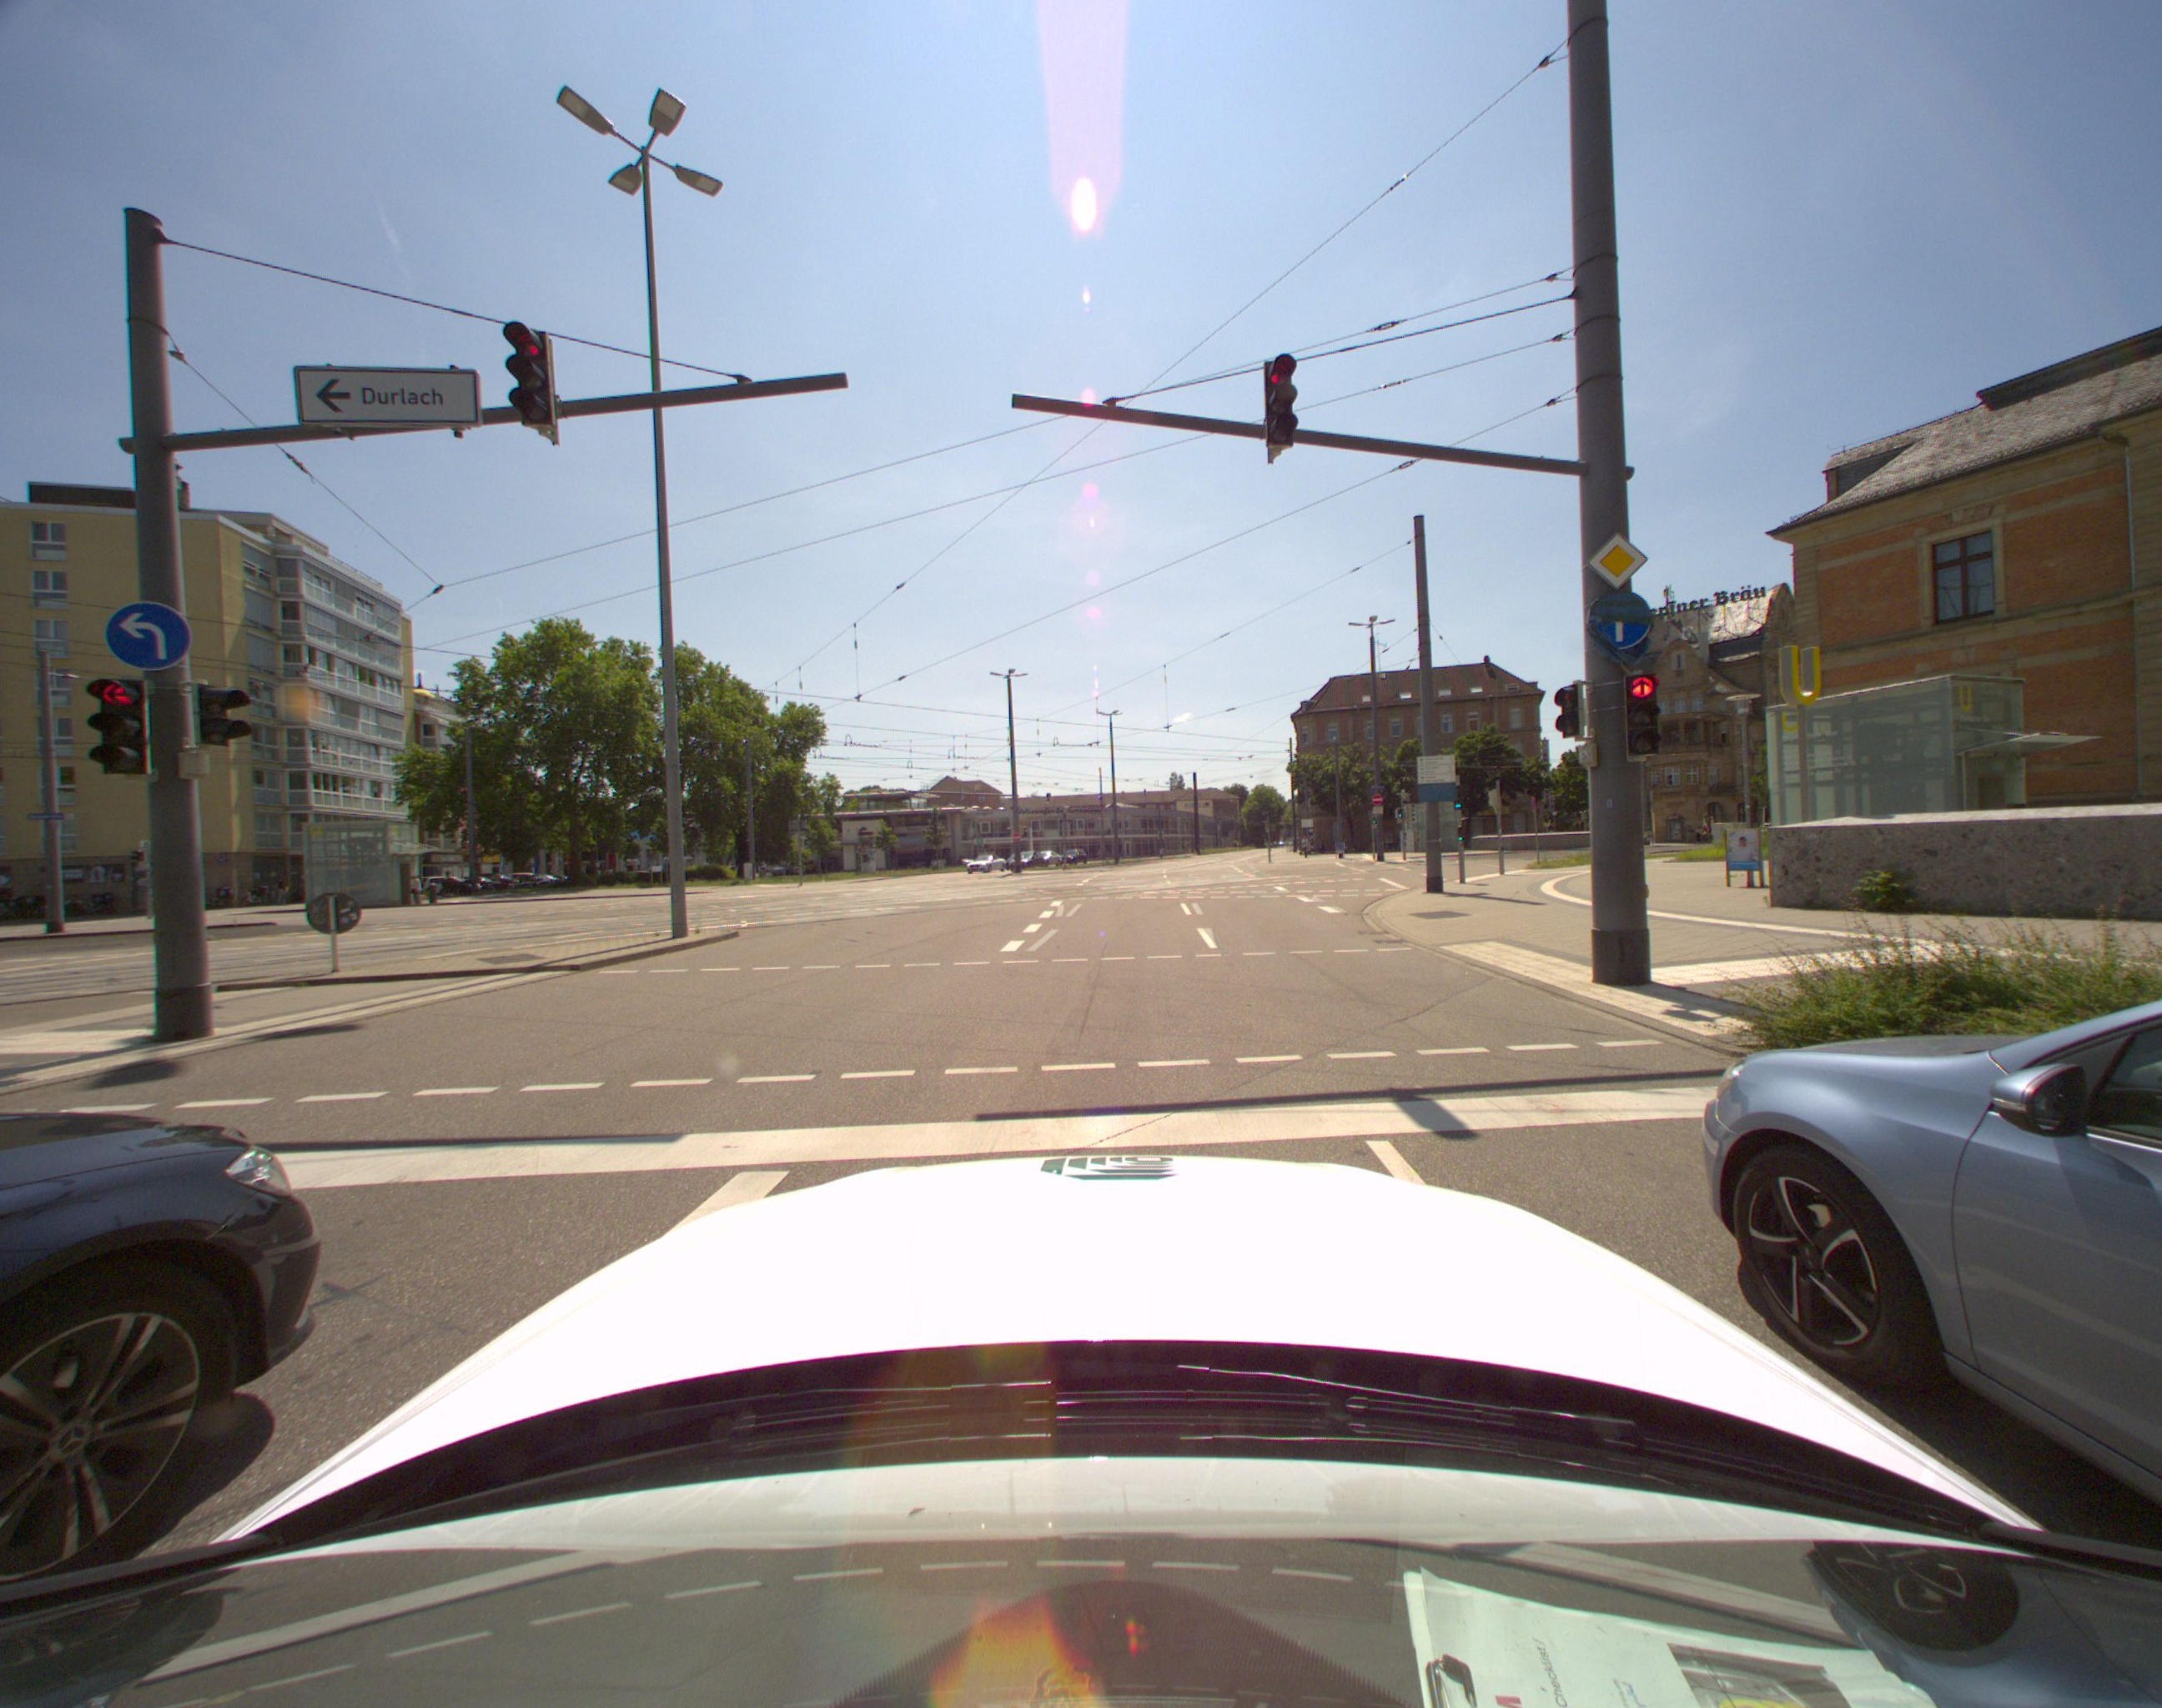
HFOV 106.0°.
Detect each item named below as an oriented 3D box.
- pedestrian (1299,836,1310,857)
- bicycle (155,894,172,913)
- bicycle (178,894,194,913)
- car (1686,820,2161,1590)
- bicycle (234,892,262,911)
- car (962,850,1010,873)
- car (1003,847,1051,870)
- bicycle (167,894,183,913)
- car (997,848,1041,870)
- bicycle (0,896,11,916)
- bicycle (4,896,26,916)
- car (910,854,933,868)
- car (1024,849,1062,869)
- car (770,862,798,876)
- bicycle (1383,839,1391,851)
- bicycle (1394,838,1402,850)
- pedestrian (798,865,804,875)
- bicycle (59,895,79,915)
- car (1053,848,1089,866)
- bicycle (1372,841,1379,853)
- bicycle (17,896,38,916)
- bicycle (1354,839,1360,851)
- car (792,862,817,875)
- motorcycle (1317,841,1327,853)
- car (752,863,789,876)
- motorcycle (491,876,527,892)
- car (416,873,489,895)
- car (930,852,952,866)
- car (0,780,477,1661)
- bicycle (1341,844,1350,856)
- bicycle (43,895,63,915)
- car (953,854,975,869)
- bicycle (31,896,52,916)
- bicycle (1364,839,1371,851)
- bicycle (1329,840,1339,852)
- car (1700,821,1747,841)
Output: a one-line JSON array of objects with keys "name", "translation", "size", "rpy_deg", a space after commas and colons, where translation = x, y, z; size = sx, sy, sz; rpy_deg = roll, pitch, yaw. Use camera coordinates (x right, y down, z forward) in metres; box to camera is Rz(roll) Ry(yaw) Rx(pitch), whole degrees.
[{"name": "pedestrian", "translation": [18.541, -0.614, 67.570], "size": [0.463, 1.708, 0.635], "rpy_deg": [-2, 0, -24]}, {"name": "bicycle", "translation": [-51.693, 2.792, 45.881], "size": [0.435, 1.026, 1.426], "rpy_deg": [-2, 0, -42]}, {"name": "bicycle", "translation": [-50.806, 2.789, 46.238], "size": [0.435, 1.026, 1.426], "rpy_deg": [-2, 0, -42]}, {"name": "car", "translation": [2.839, 0.658, 0.770], "size": [1.645, 1.459, 4.005], "rpy_deg": [-1, 0, 2]}, {"name": "bicycle", "translation": [-49.278, 2.797, 48.212], "size": [0.432, 1.026, 1.437], "rpy_deg": [-2, 0, -14]}, {"name": "car", "translation": [-7.482, 0.561, 64.539], "size": [2.061, 1.580, 4.866], "rpy_deg": [-2, 0, 15]}, {"name": "car", "translation": [-4.237, 0.365, 64.774], "size": [1.977, 1.637, 4.870], "rpy_deg": [-2, 0, 19]}, {"name": "bicycle", "translation": [-51.228, 2.790, 46.050], "size": [0.435, 1.026, 1.426], "rpy_deg": [-2, 0, -42]}, {"name": "car", "translation": [-5.326, 0.430, 70.632], "size": [1.977, 1.700, 4.870], "rpy_deg": [-2, 0, 19]}, {"name": "bicycle", "translation": [-58.462, 2.824, 44.062], "size": [0.435, 1.026, 1.426], "rpy_deg": [-2, 0, -42]}, {"name": "bicycle", "translation": [-57.863, 2.821, 44.213], "size": [0.435, 1.026, 1.426], "rpy_deg": [-2, 0, -42]}, {"name": "car", "translation": [-19.716, 0.841, 100.720], "size": [1.913, 1.707, 4.002], "rpy_deg": [0, -1, 2]}, {"name": "car", "translation": [-3.515, 0.449, 76.536], "size": [1.977, 1.739, 4.565], "rpy_deg": [-2, 0, 19]}, {"name": "car", "translation": [-37.431, 1.872, 102.751], "size": [1.760, 1.510, 4.330], "rpy_deg": [-2, 0, 3]}, {"name": "bicycle", "translation": [29.371, -0.904, 78.216], "size": [0.546, 1.120, 1.879], "rpy_deg": [-2, 0, 18]}, {"name": "bicycle", "translation": [30.469, -0.933, 78.367], "size": [0.546, 1.120, 1.938], "rpy_deg": [-2, 0, 18]}, {"name": "pedestrian", "translation": [-33.947, 1.944, 98.662], "size": [0.510, 1.204, 0.446], "rpy_deg": [-2, 0, 7]}, {"name": "bicycle", "translation": [-55.915, 2.815, 45.002], "size": [0.435, 1.026, 1.426], "rpy_deg": [-2, 0, -42]}, {"name": "car", "translation": [-0.948, 0.310, 83.337], "size": [2.061, 1.682, 4.870], "rpy_deg": [-2, 0, 19]}, {"name": "bicycle", "translation": [28.136, -0.649, 77.849], "size": [0.546, 1.120, 1.898], "rpy_deg": [-2, 0, 18]}, {"name": "bicycle", "translation": [-57.407, 2.820, 44.372], "size": [0.435, 1.026, 1.426], "rpy_deg": [-2, 0, -42]}, {"name": "bicycle", "translation": [26.532, -0.827, 78.279], "size": [0.546, 1.120, 1.829], "rpy_deg": [-2, 0, 18]}, {"name": "car", "translation": [-34.674, 1.799, 102.207], "size": [1.763, 1.510, 4.322], "rpy_deg": [-2, 0, -3]}, {"name": "motorcycle", "translation": [23.313, -0.686, 78.854], "size": [0.577, 1.074, 1.949], "rpy_deg": [-2, 0, 6]}, {"name": "car", "translation": [-41.301, 2.015, 108.295], "size": [4.343, 1.510, 1.754], "rpy_deg": [-2, 0, -33]}, {"name": "motorcycle", "translation": [-38.947, 2.034, 55.433], "size": [1.925, 0.961, 0.521], "rpy_deg": [-2, 0, -29]}, {"name": "car", "translation": [-49.040, 2.323, 63.627], "size": [4.002, 1.420, 1.986], "rpy_deg": [-2, 0, -21]}, {"name": "car", "translation": [-17.279, 0.626, 100.686], "size": [1.913, 1.707, 4.002], "rpy_deg": [0, -1, 2]}, {"name": "car", "translation": [-2.973, 0.699, 0.263], "size": [1.790, 1.640, 4.808], "rpy_deg": [-1, 0, 3]}, {"name": "bicycle", "translation": [25.574, -0.346, 78.704], "size": [0.440, 1.146, 2.099], "rpy_deg": [-1, -1, 9]}, {"name": "bicycle", "translation": [-56.413, 2.815, 44.682], "size": [0.435, 1.026, 1.426], "rpy_deg": [-2, 0, -42]}, {"name": "car", "translation": [-14.442, 0.934, 100.779], "size": [1.913, 1.707, 4.002], "rpy_deg": [0, -1, 2]}, {"name": "bicycle", "translation": [-56.919, 2.818, 44.608], "size": [0.435, 1.026, 1.426], "rpy_deg": [-2, 0, -42]}, {"name": "bicycle", "translation": [27.407, -0.847, 78.004], "size": [0.546, 1.120, 1.829], "rpy_deg": [-2, 0, 18]}, {"name": "bicycle", "translation": [24.433, -0.756, 78.722], "size": [0.548, 1.120, 1.824], "rpy_deg": [-2, 0, 8]}, {"name": "car", "translation": [56.452, -2.033, 71.549], "size": [3.656, 1.605, 1.682], "rpy_deg": [-3, 0, -22]}]
